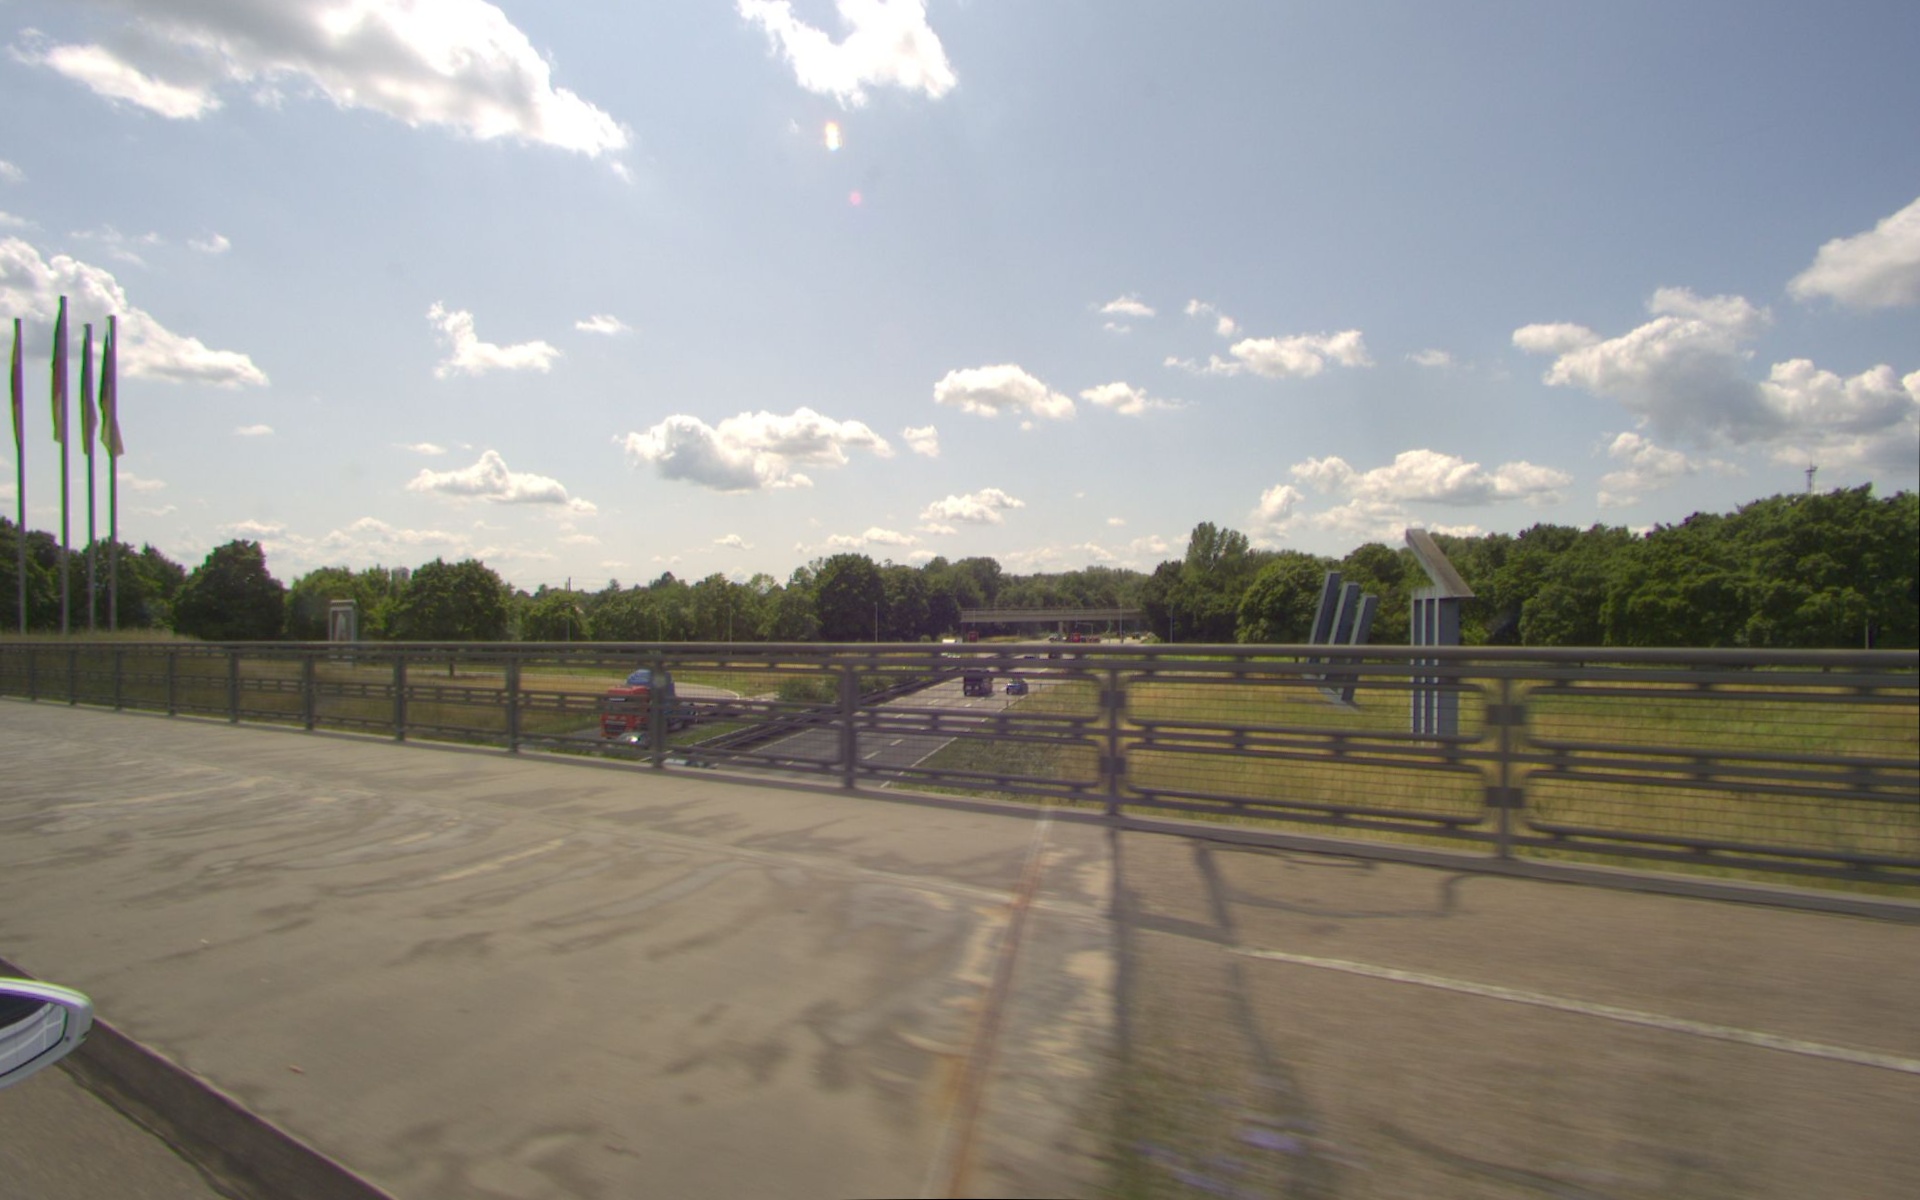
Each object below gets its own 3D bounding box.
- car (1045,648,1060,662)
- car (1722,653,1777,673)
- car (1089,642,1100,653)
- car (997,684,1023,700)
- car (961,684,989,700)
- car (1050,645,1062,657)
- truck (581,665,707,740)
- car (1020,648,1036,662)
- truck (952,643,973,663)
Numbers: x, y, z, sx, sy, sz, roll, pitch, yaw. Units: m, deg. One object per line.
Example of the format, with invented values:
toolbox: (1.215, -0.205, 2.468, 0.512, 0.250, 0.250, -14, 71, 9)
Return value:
car: (14.075, 8.280, 151.947, 1.962, 2.039, 4.000, 1, -2, 10)
car: (81.137, 6.441, 102.916, 1.967, 1.905, 3.991, 2, -2, -20)
car: (26.712, 9.404, 198.133, 1.962, 2.039, 4.000, 1, -2, 10)
car: (5.076, 9.225, 100.398, 1.962, 1.304, 3.999, 1, -2, 12)
car: (1.512, 9.085, 98.649, 1.962, 1.304, 3.999, 1, -2, 12)
car: (17.304, 9.101, 180.316, 1.962, 2.039, 4.000, 1, -2, 10)
truck: (-21.574, 6.870, 69.224, 3.942, 4.459, 9.629, 1, -2, 13)
car: (10.608, 8.557, 155.602, 1.962, 2.039, 4.000, 1, -2, 10)
truck: (0.385, 7.812, 147.668, 1.962, 2.736, 6.618, 1, -2, 10)
